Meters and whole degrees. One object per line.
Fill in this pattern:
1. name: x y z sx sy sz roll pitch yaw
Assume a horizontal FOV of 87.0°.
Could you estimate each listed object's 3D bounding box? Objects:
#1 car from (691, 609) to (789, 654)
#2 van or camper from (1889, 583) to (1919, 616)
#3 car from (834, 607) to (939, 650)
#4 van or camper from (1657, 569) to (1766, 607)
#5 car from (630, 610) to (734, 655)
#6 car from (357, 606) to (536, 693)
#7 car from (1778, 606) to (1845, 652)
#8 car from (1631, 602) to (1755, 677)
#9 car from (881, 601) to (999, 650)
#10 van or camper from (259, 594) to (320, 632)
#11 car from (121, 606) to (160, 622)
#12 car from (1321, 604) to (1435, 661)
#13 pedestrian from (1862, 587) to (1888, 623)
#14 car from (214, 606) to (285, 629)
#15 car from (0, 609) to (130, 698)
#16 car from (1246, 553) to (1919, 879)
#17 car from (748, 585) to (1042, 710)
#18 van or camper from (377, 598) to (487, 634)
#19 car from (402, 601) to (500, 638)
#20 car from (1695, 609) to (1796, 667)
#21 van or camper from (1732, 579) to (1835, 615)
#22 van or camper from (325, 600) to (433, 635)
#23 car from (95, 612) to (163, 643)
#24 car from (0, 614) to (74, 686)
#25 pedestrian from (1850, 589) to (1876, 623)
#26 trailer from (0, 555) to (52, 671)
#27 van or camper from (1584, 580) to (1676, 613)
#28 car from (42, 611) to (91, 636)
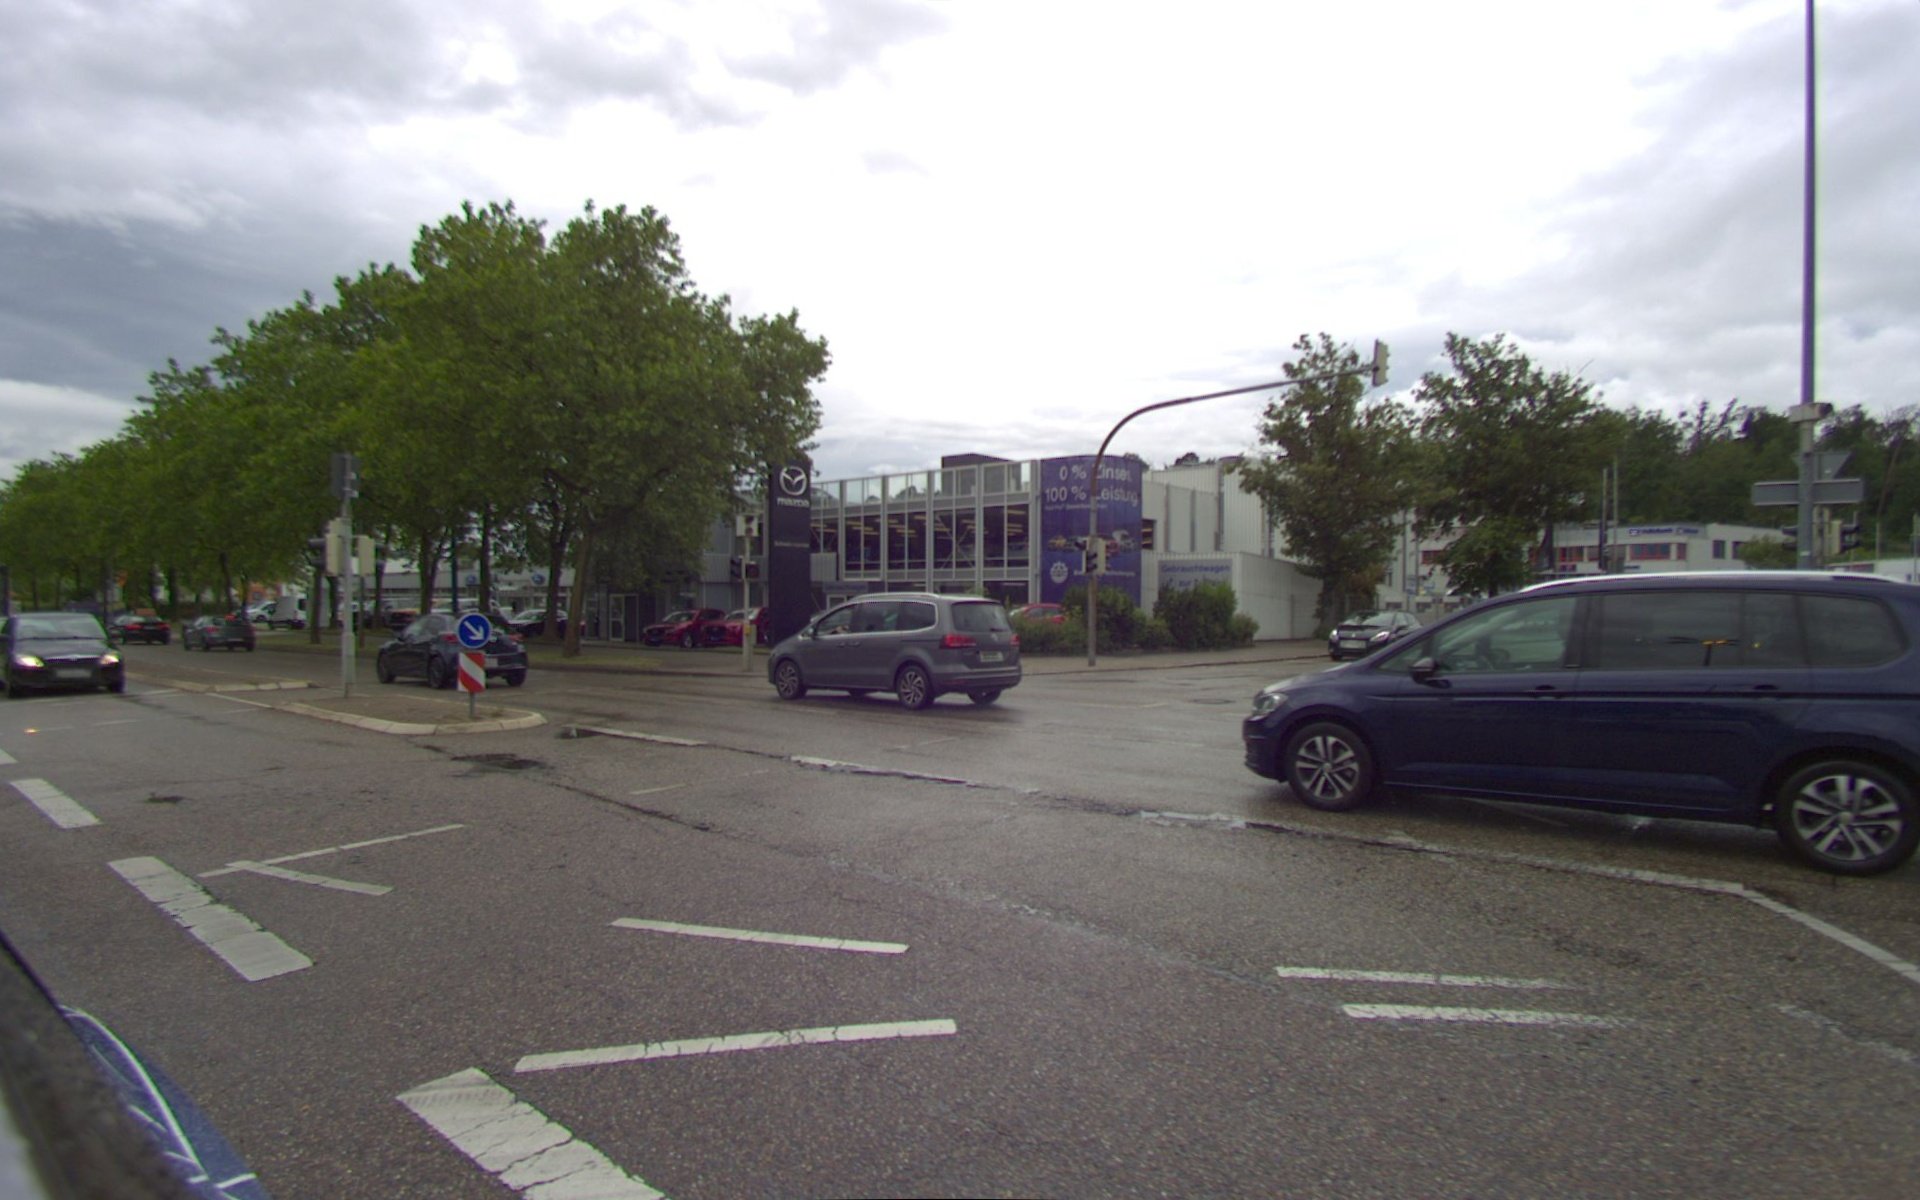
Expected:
1. car: -8.670 1.229 40.274 1.996 1.665 4.207 0 -1 18
2. van or camper: 60.722 -0.070 62.130 5.044 2.029 1.980 -1 -1 30
3. car: -2.540 0.967 35.548 1.687 1.401 3.706 -1 -1 37
4. van or camper: 50.134 -0.738 67.624 5.720 2.374 1.914 -1 -1 41
5. car: -11.504 1.300 42.170 1.984 1.608 4.541 -1 1 19
6. car: -10.385 0.936 20.363 3.995 1.592 1.694 -1 -1 38
7. car: 27.987 0.913 33.226 1.503 1.410 3.339 -1 -1 43
8. car: 16.539 0.824 22.752 1.878 1.500 4.104 -1 -1 41
9. car: -0.601 0.784 33.250 1.876 1.500 3.943 -1 -1 37
10. van or camper: -46.154 0.883 69.599 6.400 2.489 1.972 0 1 42
11. car: -80.263 1.341 99.046 5.244 1.507 2.096 0 0 41
12. car: 11.972 0.879 28.856 1.817 1.500 3.937 -1 -1 41
13. pedestrian: 49.748 0.270 55.015 0.711 1.900 0.748 0 -1 -14
14. car: -64.962 1.603 92.572 2.128 2.029 4.994 -1 0 39
15. car: -17.163 0.934 19.089 4.076 1.501 1.695 -1 -1 41
16. car: 4.348 0.593 6.659 4.361 1.620 1.891 -1 -1 41
17. car: -1.192 0.697 16.479 4.881 1.740 1.891 -1 -1 41
18. van or camper: -28.696 0.812 55.212 2.088 1.783 5.342 3 1 19
19. car: -26.458 0.961 52.767 1.984 1.829 4.440 -1 0 19
20. car: 20.948 0.966 26.945 1.878 1.410 3.648 -1 -1 41
21. van or camper: 49.264 -0.154 60.623 1.824 2.061 4.592 0 -1 -44
22. van or camper: -32.709 0.947 57.152 2.246 1.835 5.272 -1 0 16
23. car: -39.093 1.305 47.581 4.170 1.393 1.693 -1 -2 40
24. car: -21.455 1.065 22.759 4.779 1.469 1.747 -1 0 42
25. pedestrian: 48.968 0.332 54.857 0.523 1.793 0.869 0 -1 -14
26. trailer: -26.426 0.343 27.158 5.542 2.919 2.348 0 -1 40
27. van or camper: 43.368 -0.208 65.657 4.760 2.029 1.960 -1 -1 30
28. car: -55.364 1.426 62.677 4.082 1.476 1.692 0 -1 40
